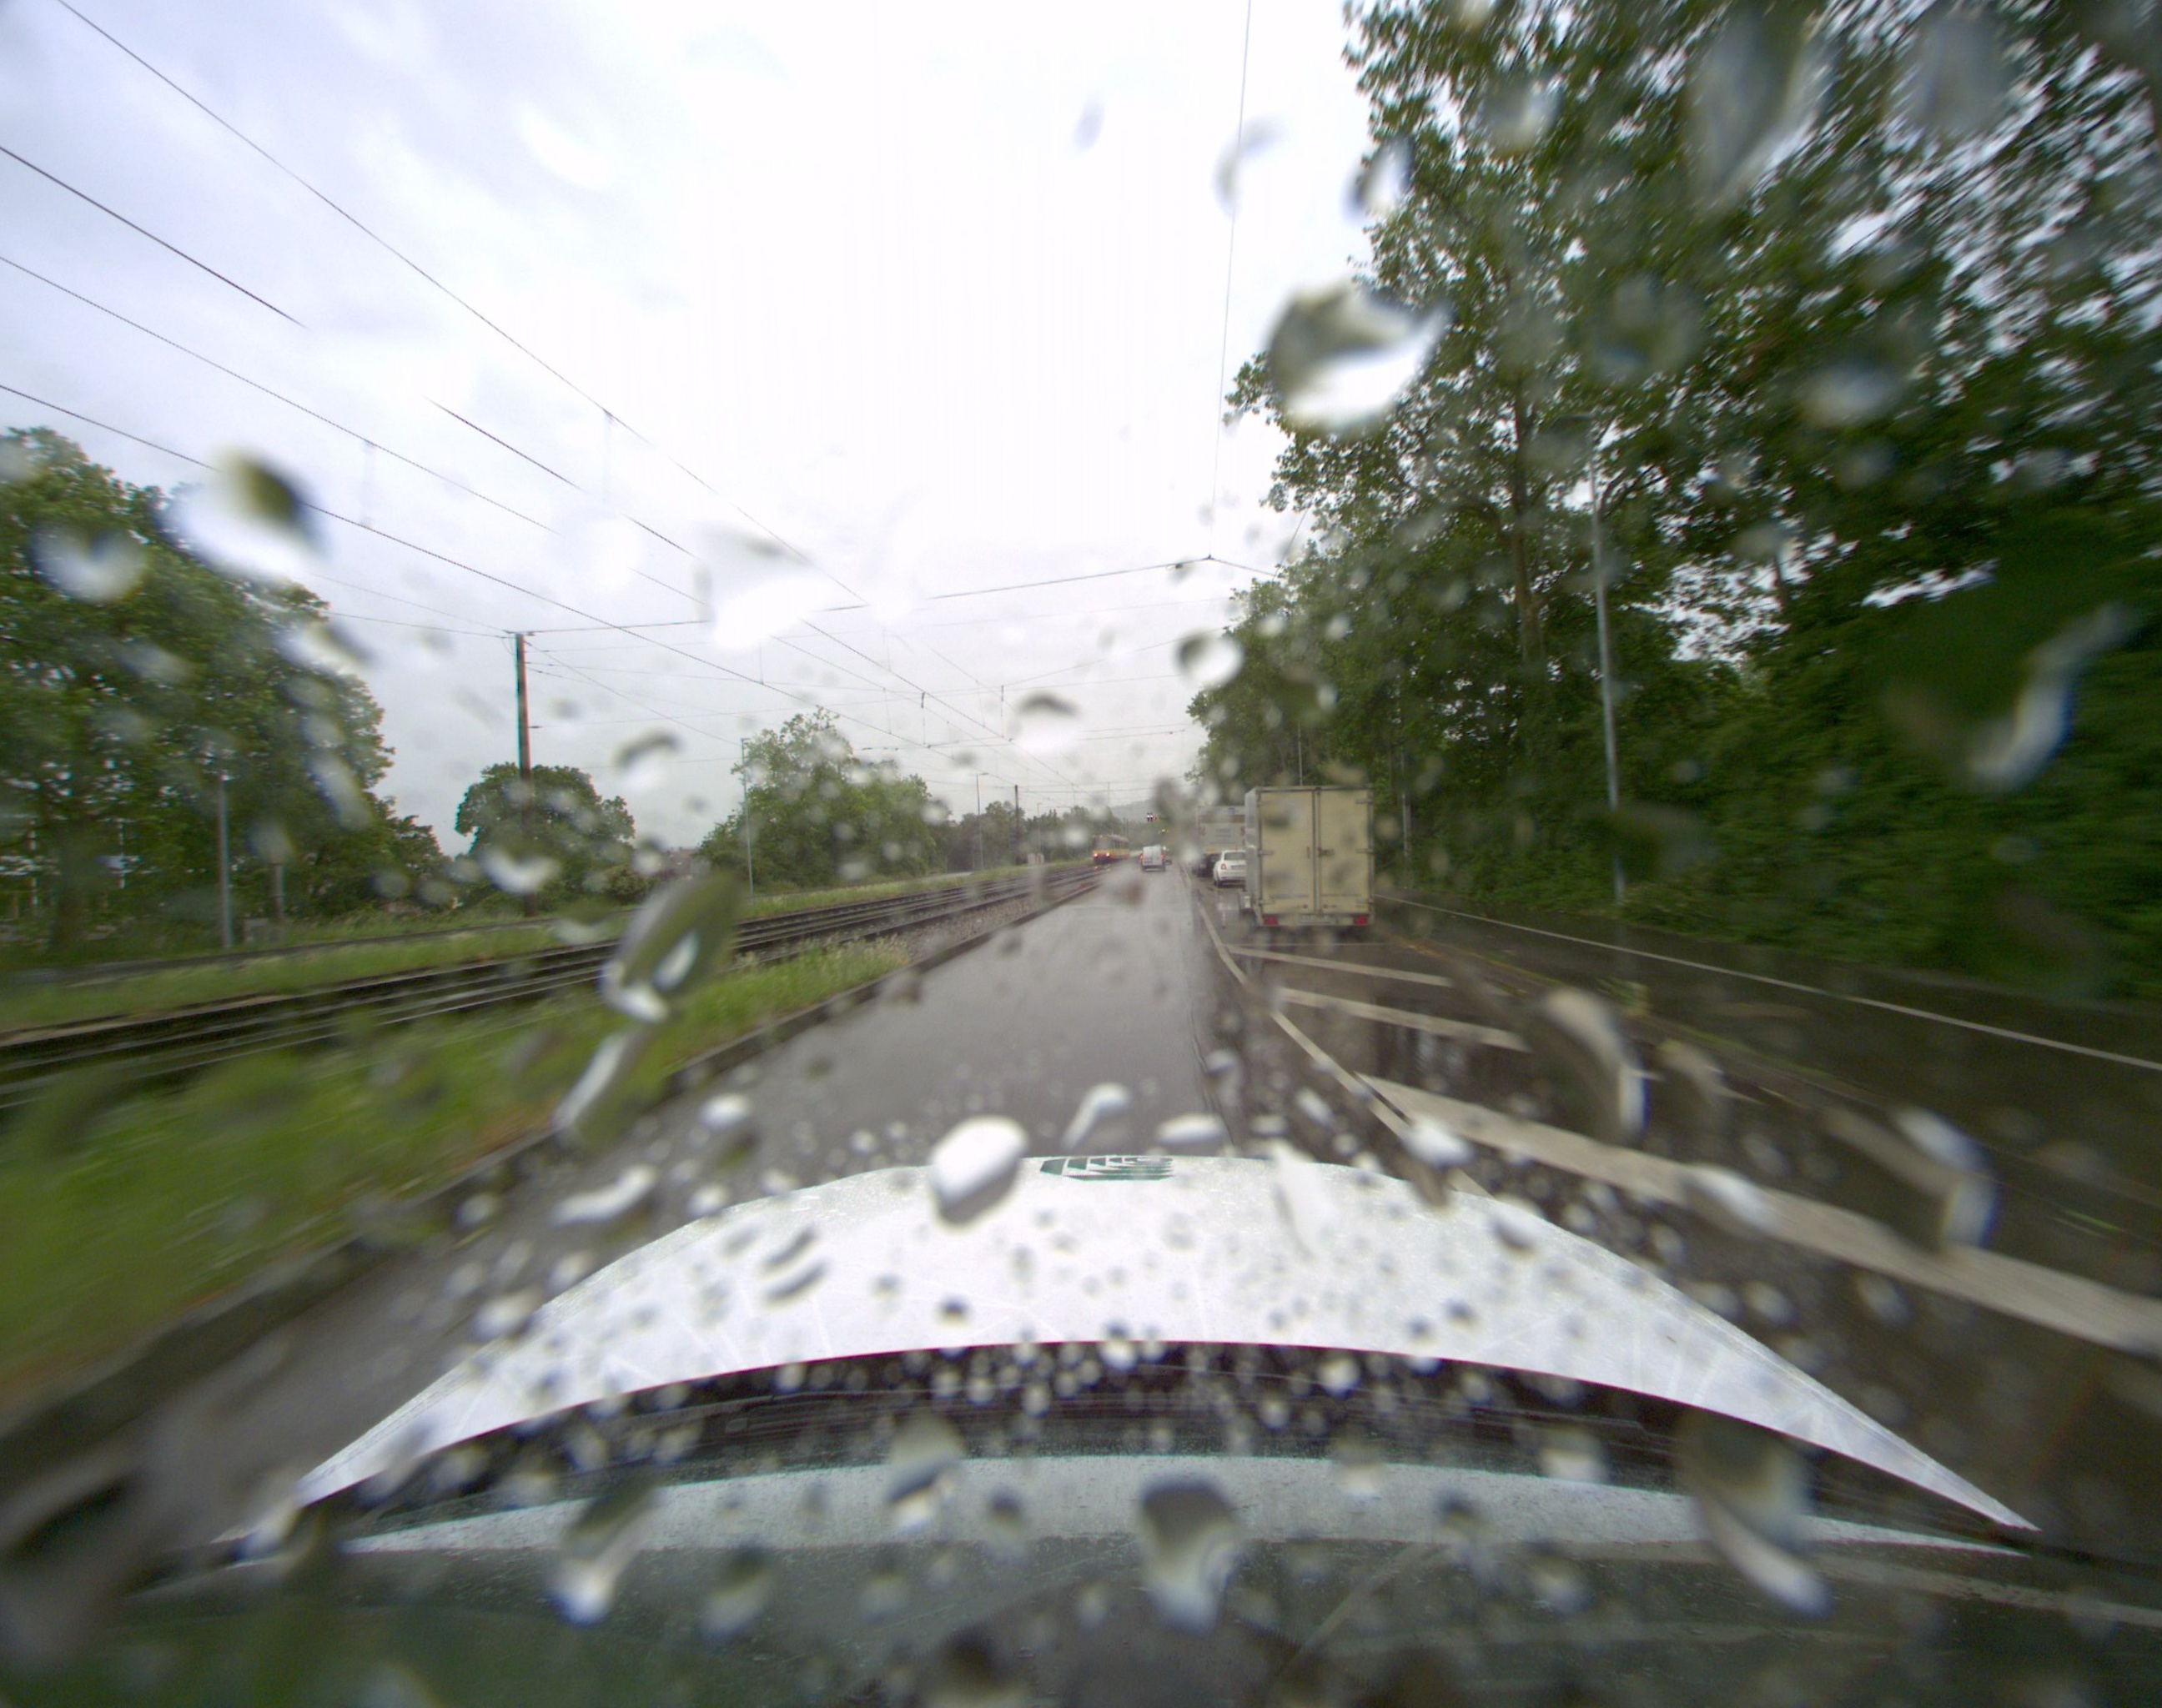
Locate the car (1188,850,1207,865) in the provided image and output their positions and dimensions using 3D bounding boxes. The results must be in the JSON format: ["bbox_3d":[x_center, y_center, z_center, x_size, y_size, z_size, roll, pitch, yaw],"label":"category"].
[{"bbox_3d":[11.901,0.367,83.299,1.810,1.486,4.489,0,0,6],"label":"car"}]

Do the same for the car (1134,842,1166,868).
[{"bbox_3d":[5.071,0.056,60.181,1.987,1.849,4.000,-2,0,0],"label":"car"}]

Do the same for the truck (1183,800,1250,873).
[{"bbox_3d":[7.640,-0.866,47.133,2.763,3.704,9.861,-2,0,4],"label":"truck"}]

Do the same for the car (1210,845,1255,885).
[{"bbox_3d":[6.290,0.398,34.033,1.703,1.529,4.010,-2,0,9],"label":"car"}]

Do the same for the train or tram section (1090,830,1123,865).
[{"bbox_3d":[3.339,-0.813,103.027,2.791,4.149,13.045,-2,0,7],"label":"train or tram section"}]

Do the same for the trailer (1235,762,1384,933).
[{"bbox_3d":[4.268,-0.086,16.173,2.153,2.757,5.691,-2,0,9],"label":"trailer"}]

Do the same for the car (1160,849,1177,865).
[{"bbox_3d":[9.446,0.296,87.658,1.777,1.642,3.975,-2,0,7],"label":"car"}]
